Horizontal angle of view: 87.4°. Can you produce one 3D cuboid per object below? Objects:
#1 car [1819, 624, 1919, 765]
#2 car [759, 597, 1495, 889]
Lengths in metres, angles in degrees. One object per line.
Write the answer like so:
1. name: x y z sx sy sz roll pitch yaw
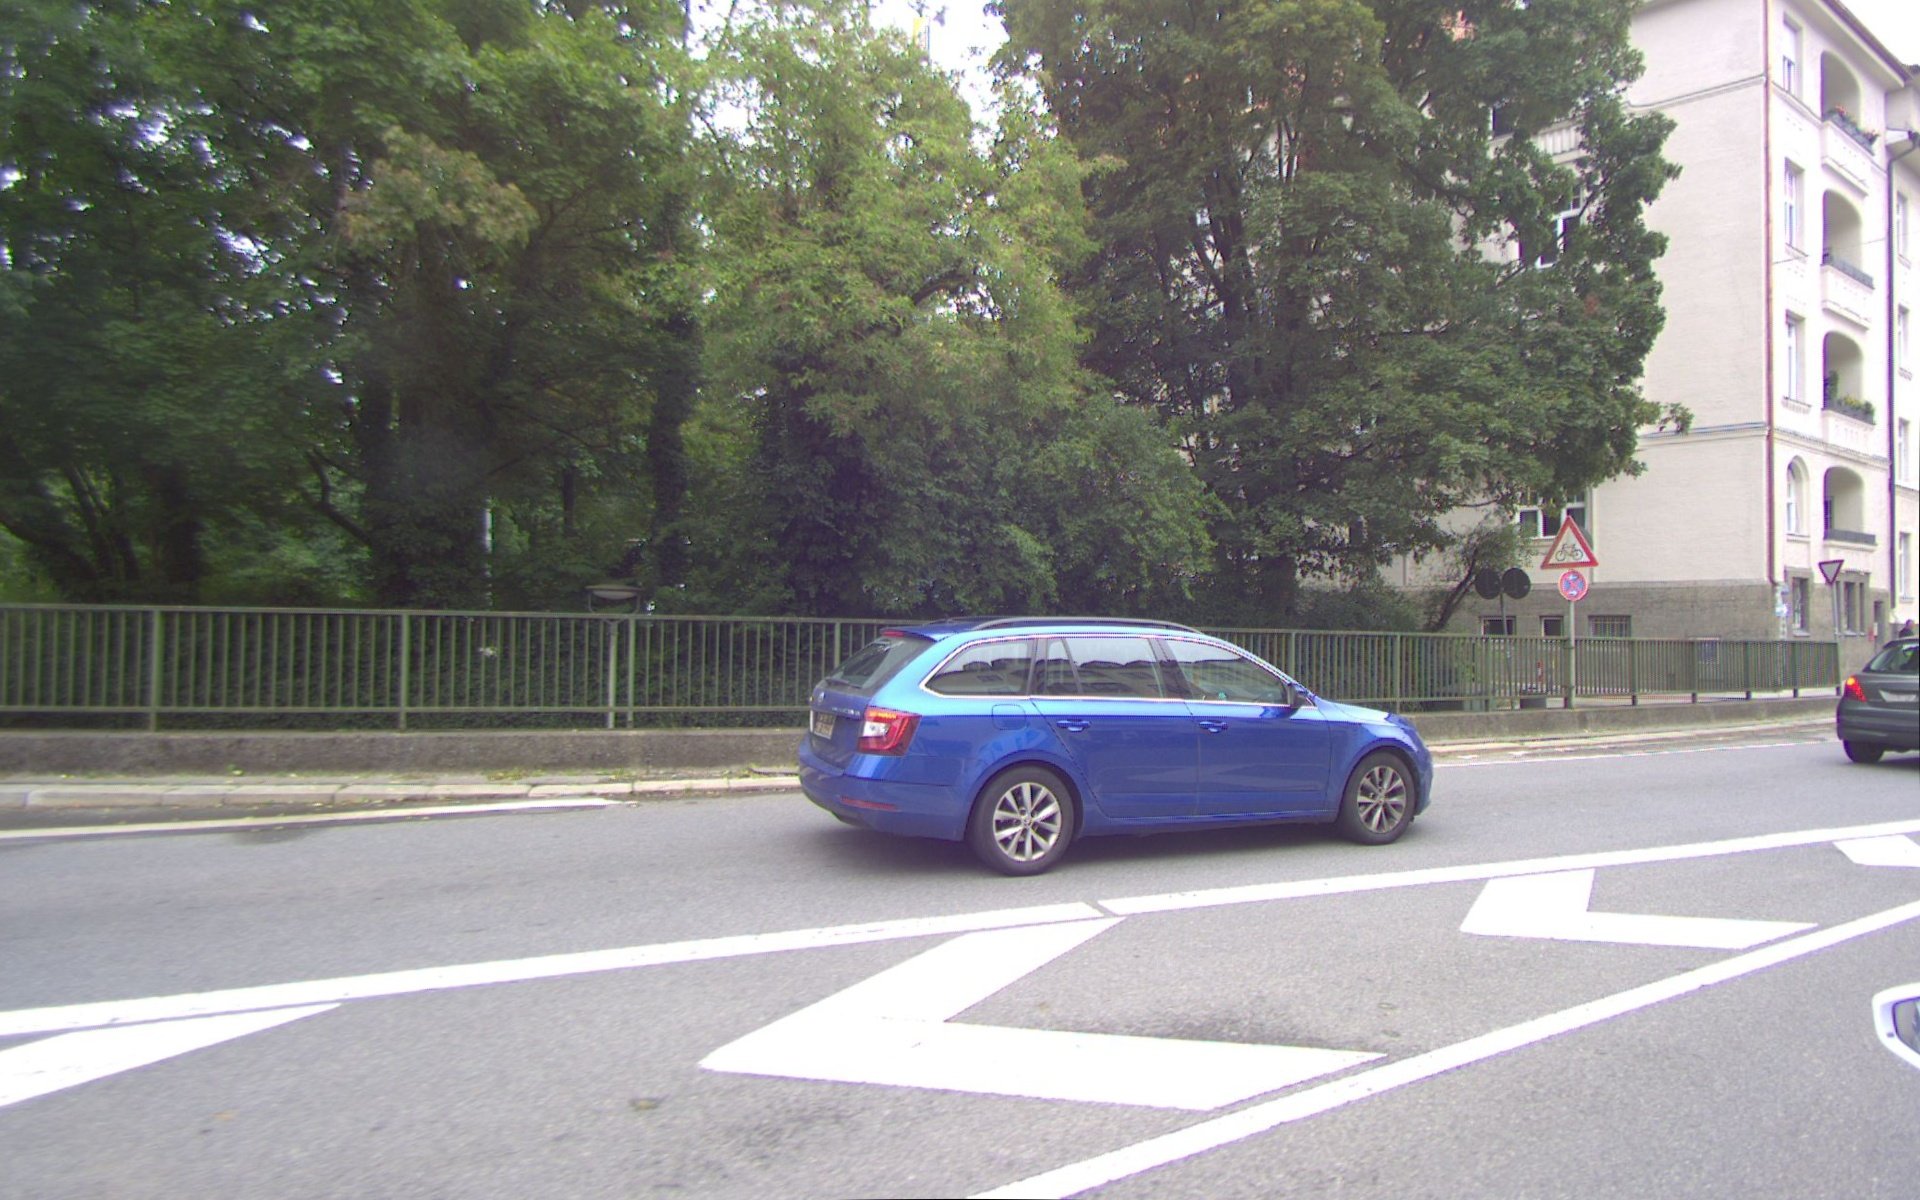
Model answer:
1. car: 11.917 1.025 11.405 4.018 1.480 1.754 1 -2 -24
2. car: 1.133 0.779 6.896 4.665 1.473 1.983 1 -2 -22
